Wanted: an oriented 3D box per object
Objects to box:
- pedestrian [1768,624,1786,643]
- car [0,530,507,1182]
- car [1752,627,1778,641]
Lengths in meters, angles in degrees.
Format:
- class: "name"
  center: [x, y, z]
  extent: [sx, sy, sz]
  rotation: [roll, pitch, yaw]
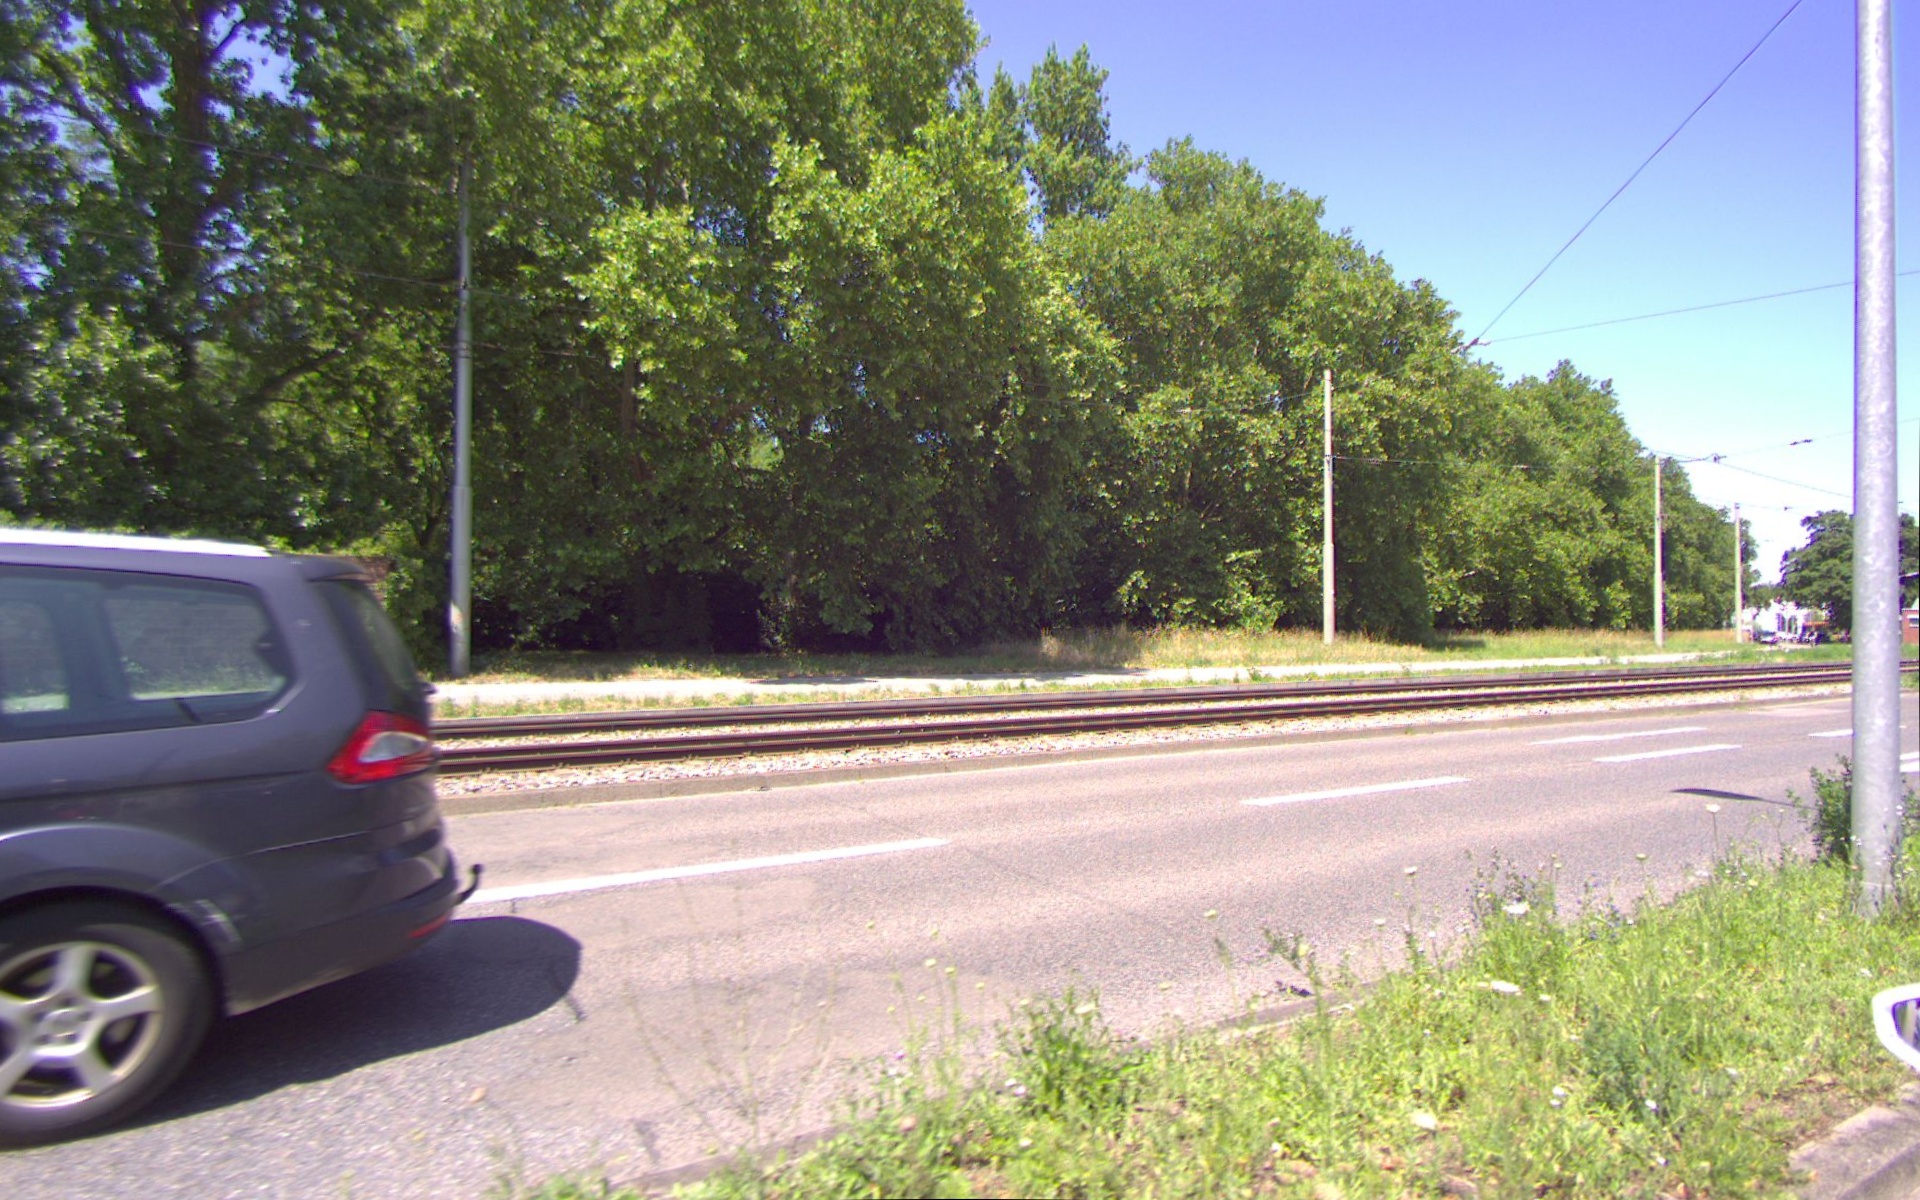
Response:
- class: "pedestrian"
  center: [77.365, 3.175, 95.108]
  extent: [1.245, 1.724, 0.518]
  rotation: [1, -1, 11]
- class: "car"
  center: [-3.988, 0.699, 2.910]
  extent: [4.737, 1.736, 1.821]
  rotation: [1, -2, -30]
- class: "car"
  center: [91.454, 3.861, 114.131]
  extent: [1.967, 1.486, 3.987]
  rotation: [0, -1, 35]
